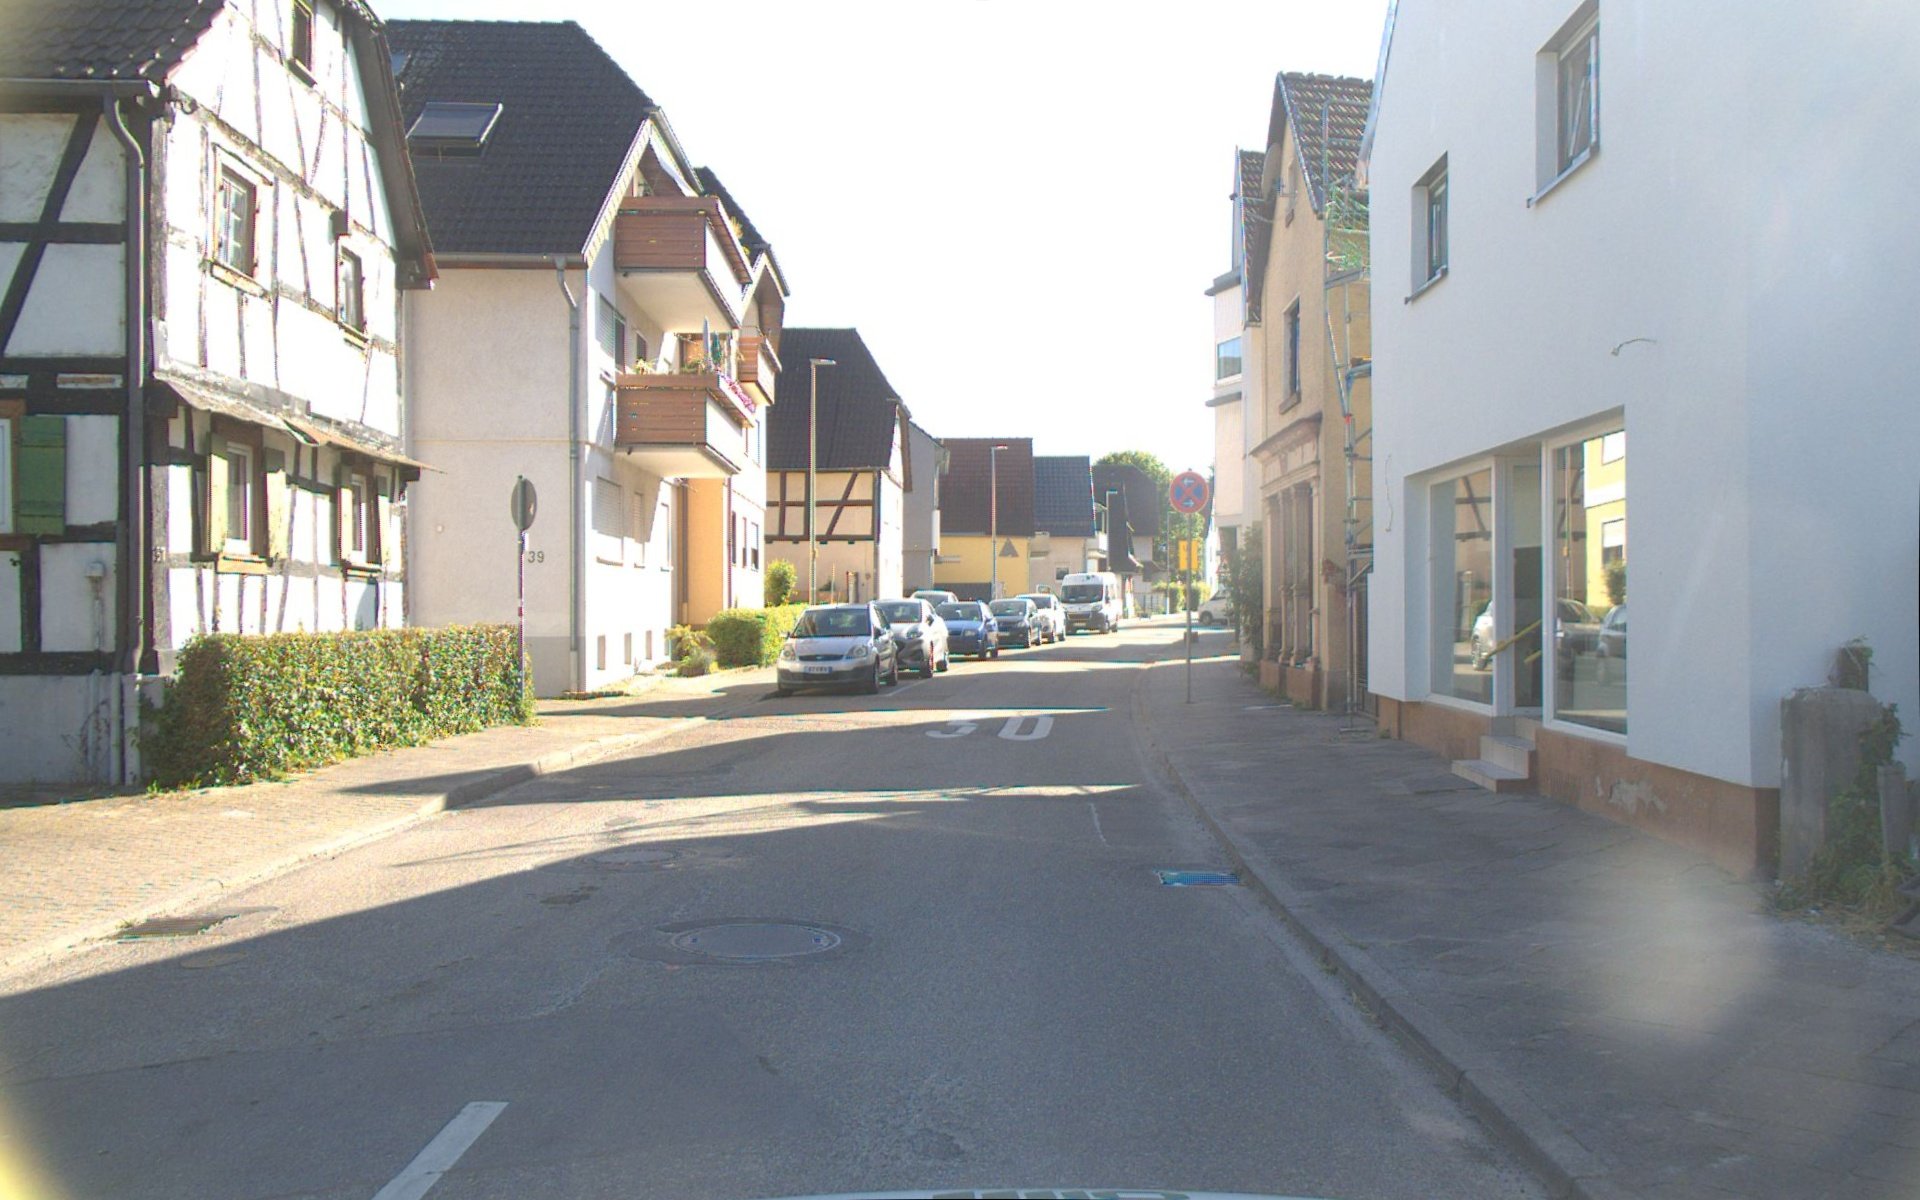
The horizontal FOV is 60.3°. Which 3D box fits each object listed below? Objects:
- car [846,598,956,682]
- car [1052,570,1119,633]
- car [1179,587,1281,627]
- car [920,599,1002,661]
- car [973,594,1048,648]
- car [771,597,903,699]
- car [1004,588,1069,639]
[{"bbox_3d":[-1.127,0.763,33.419,1.638,1.532,4.097,-1,0,6],"label":"car"},{"bbox_3d":[5.267,0.052,68.748,2.032,2.436,5.213,-2,0,12],"label":"car"},{"bbox_3d":[13.635,0.367,83.629,4.686,1.833,1.919,-2,1,37],"label":"car"},{"bbox_3d":[0.080,0.736,42.122,1.604,1.466,4.078,-1,0,7],"label":"car"},{"bbox_3d":[1.626,0.626,51.665,1.667,1.545,4.125,-2,0,11],"label":"car"},{"bbox_3d":[-2.017,0.762,28.199,1.596,1.532,3.855,-2,0,5],"label":"car"},{"bbox_3d":[2.623,0.430,56.130,1.638,1.599,3.969,-2,0,10],"label":"car"}]
